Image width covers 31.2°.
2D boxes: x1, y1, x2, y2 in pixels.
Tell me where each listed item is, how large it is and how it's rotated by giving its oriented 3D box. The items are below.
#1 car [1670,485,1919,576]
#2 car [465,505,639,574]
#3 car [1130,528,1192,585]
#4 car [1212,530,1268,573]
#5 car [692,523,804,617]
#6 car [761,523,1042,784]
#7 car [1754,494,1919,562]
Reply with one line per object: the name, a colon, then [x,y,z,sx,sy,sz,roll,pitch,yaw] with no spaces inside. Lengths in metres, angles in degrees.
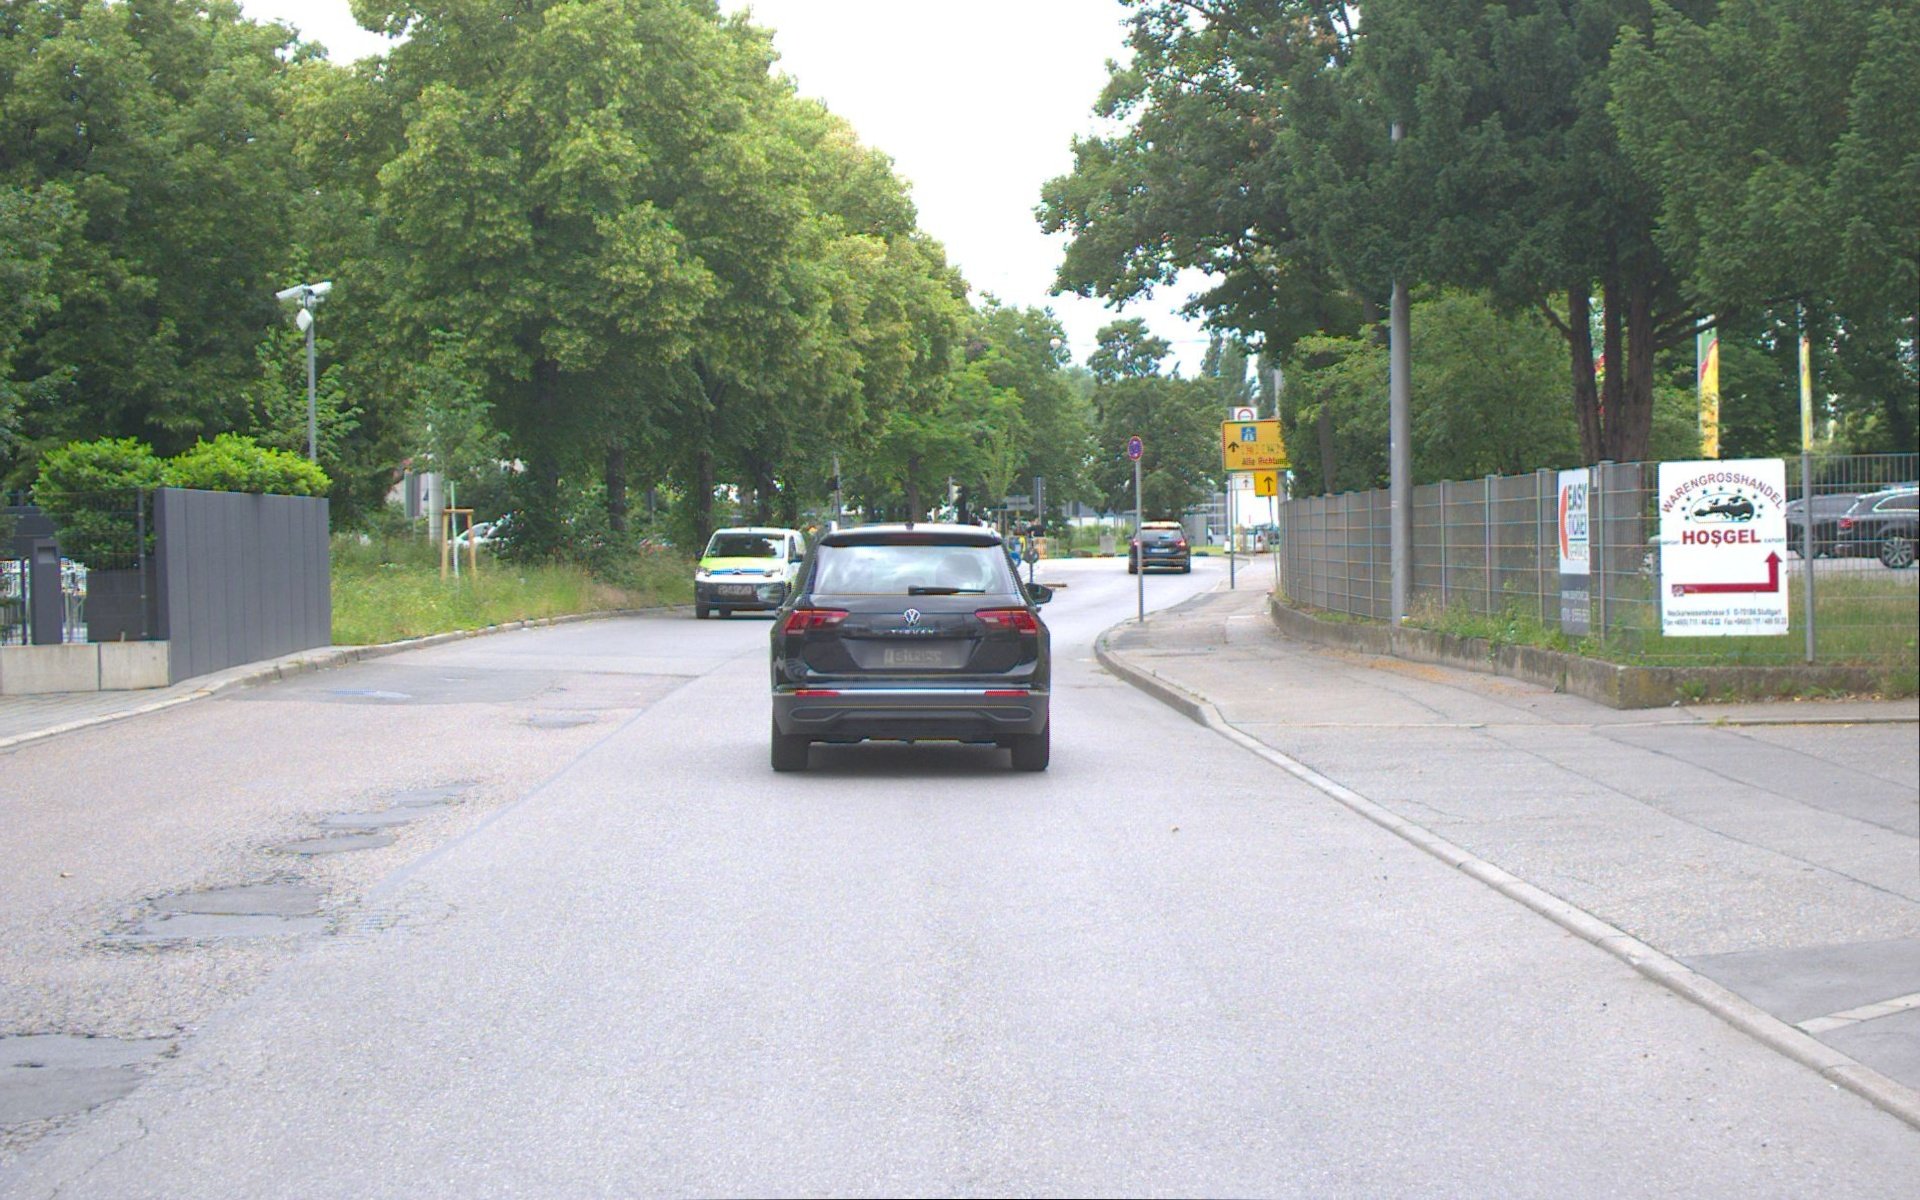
car: [15.525,-1.257,62.821,1.995,1.469,4.691,-3,1,-42]
car: [-15.128,-2.254,127.726,6.070,2.379,2.395,-1,1,2]
car: [5.846,-1.283,100.208,1.659,1.569,3.828,-2,1,2]
car: [11.665,-2.026,143.073,1.994,1.780,3.999,0,1,9]
car: [-4.092,-0.601,66.914,1.808,1.758,4.206,0,1,1]
car: [-0.324,0.318,23.129,1.739,1.612,3.641,0,0,1]
car: [21.439,-1.711,81.091,4.854,1.529,2.019,0,2,36]
